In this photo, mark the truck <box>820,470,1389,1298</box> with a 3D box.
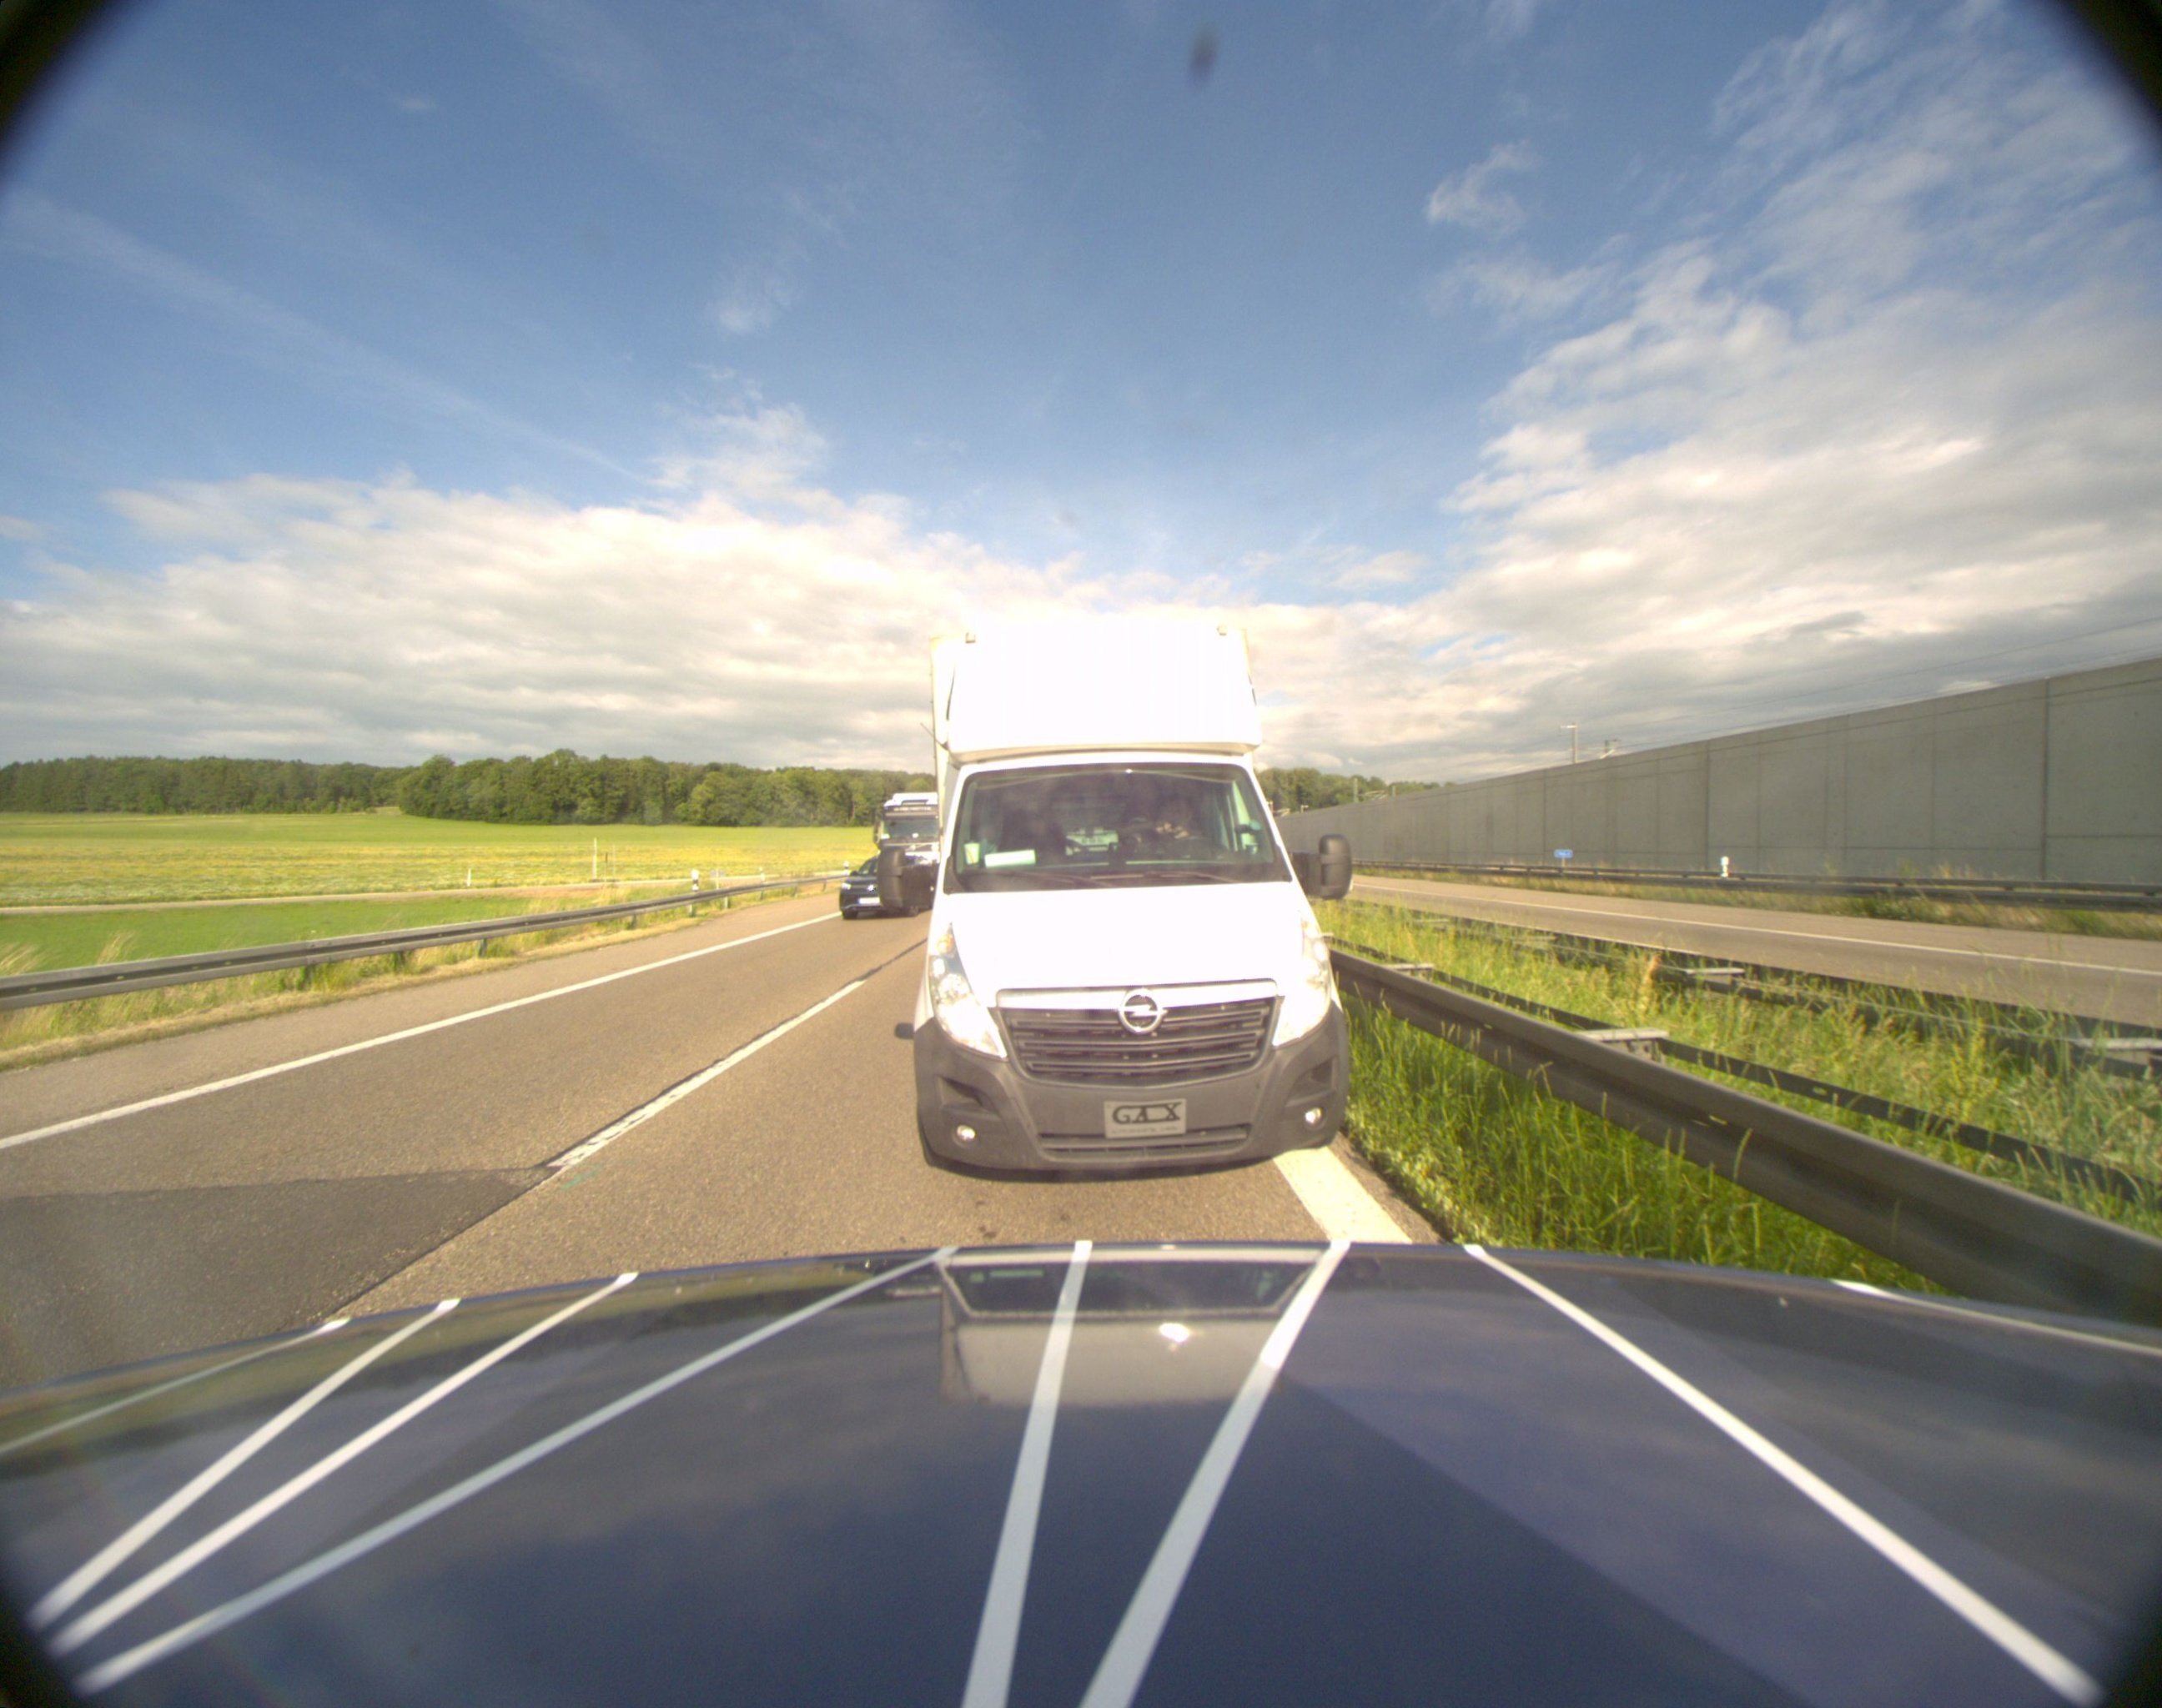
[{"bbox_3d":[0.151,0.088,6.795,2.060,3.088,7.803,-2,1,1],"label":"truck"}]

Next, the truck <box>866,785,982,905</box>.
[{"bbox_3d":[-5.772,-0.344,29.133,2.842,3.967,6.500,-2,1,1],"label":"truck"}]

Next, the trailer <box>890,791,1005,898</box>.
[{"bbox_3d":[-5.694,-0.414,34.987,2.826,3.959,12.127,-2,1,1],"label":"trailer"}]

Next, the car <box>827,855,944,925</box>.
[{"bbox_3d":[-5.124,0.885,20.566,1.998,1.587,4.118,-2,1,1],"label":"car"}]
